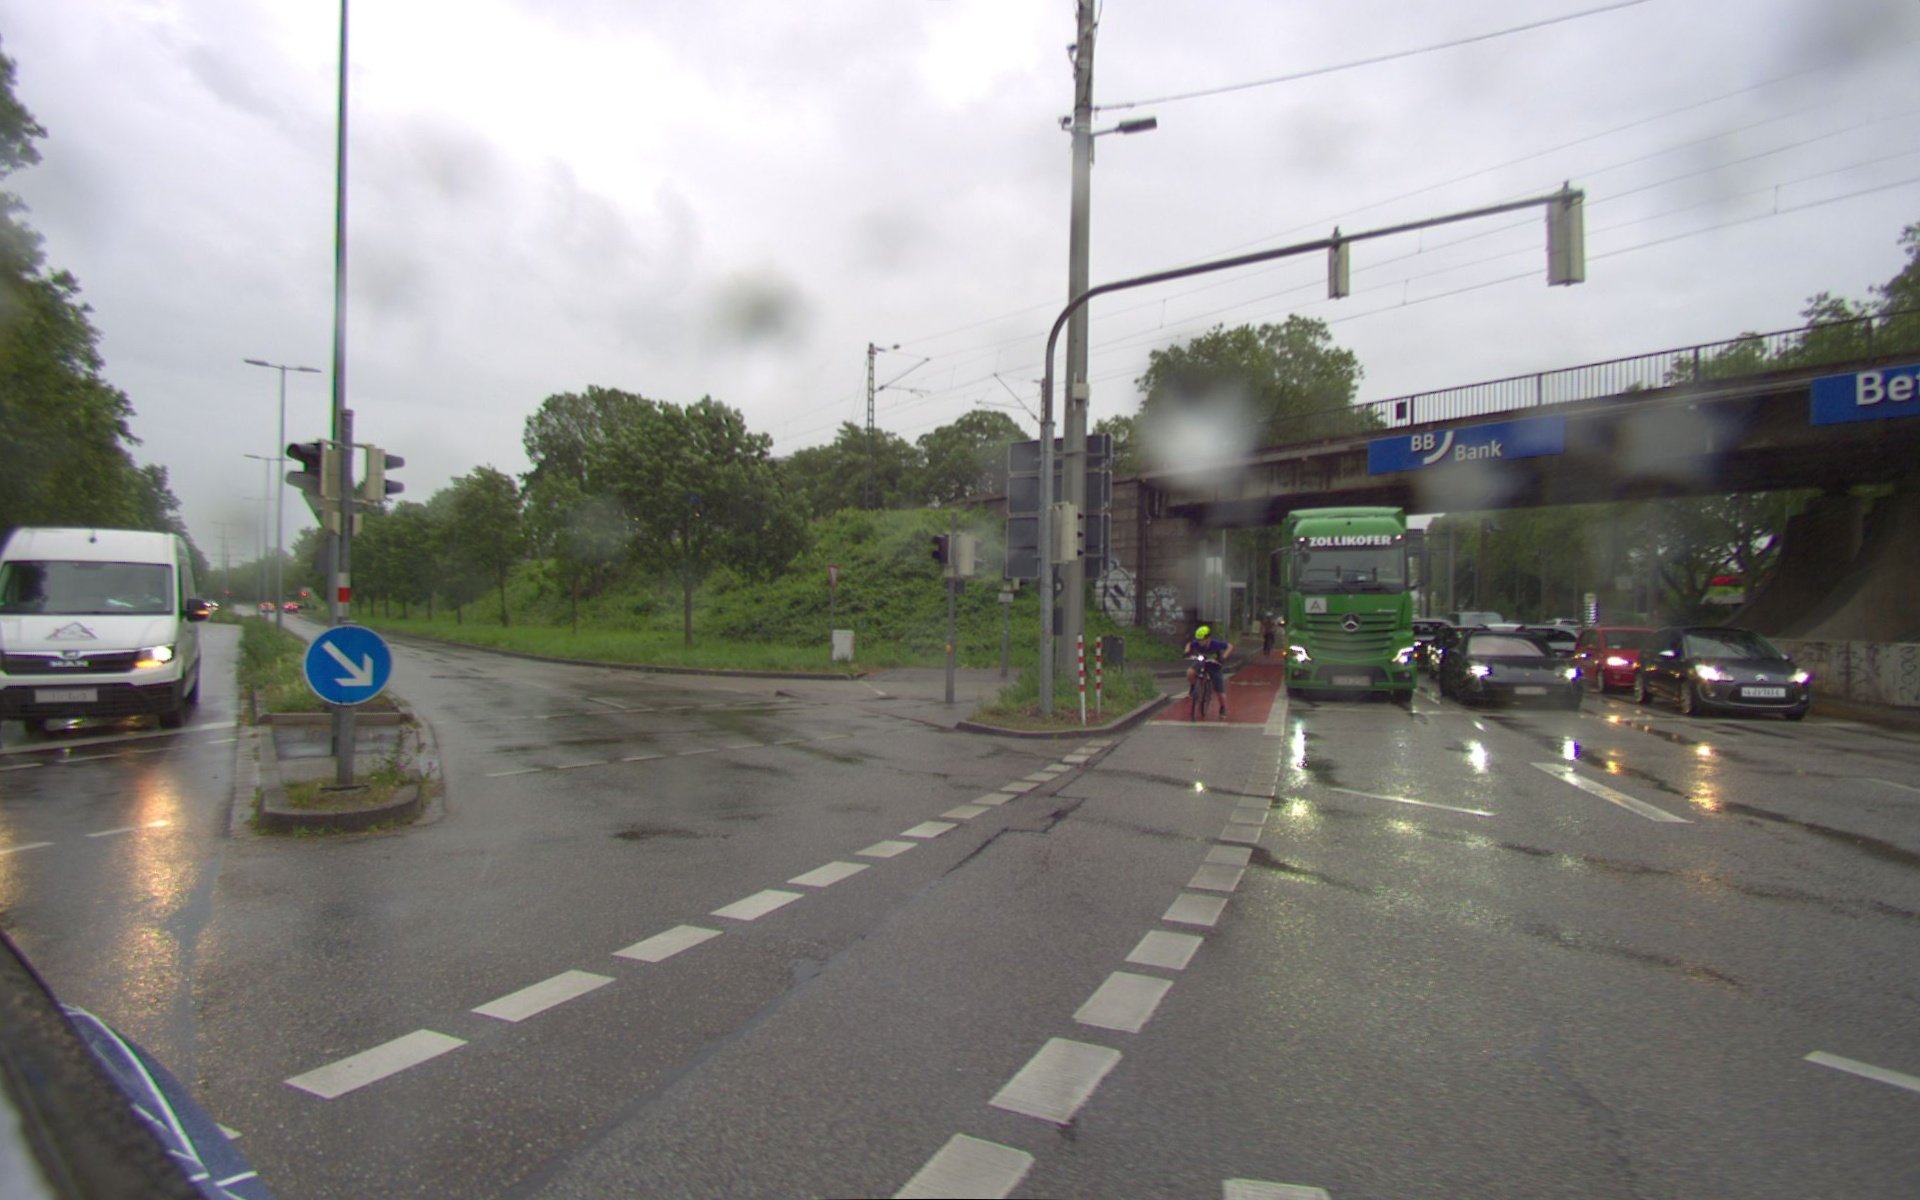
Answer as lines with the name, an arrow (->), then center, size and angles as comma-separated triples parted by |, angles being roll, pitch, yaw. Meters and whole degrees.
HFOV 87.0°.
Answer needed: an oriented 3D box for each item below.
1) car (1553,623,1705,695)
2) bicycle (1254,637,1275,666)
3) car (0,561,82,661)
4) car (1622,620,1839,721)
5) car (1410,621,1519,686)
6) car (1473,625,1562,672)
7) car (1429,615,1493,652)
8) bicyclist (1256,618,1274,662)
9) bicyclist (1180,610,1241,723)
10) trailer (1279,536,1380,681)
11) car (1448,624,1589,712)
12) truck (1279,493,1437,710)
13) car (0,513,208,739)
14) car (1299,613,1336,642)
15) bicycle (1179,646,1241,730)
car -> 15.253, 1.291, 23.317 | 1.805, 1.463, 3.978 | 0, -1, 16
bicycle -> 12.335, 2.072, 40.936 | 0.702, 1.103, 1.900 | -1, 0, 20
car -> -24.816, 0.288, 26.689 | 1.967, 2.449, 4.990 | 2, -2, -36
car -> 13.480, 1.165, 18.011 | 1.645, 1.558, 3.980 | 0, -1, 15
car -> 13.494, 1.382, 27.298 | 1.983, 1.586, 3.977 | 0, -1, 17
car -> 20.014, 1.711, 36.517 | 1.983, 1.586, 3.978 | 0, -1, 16
car -> 21.806, 1.453, 44.163 | 1.812, 1.481, 3.978 | 0, -1, 16
bicyclist -> 12.340, 1.604, 40.902 | 0.663, 1.748, 0.685 | 0, -1, 21
bicyclist -> 3.793, 0.971, 15.290 | 0.799, 1.605, 1.040 | 0, 0, 20
trailer -> 11.787, 0.312, 32.568 | 2.668, 4.017, 8.465 | 0, -1, 19
car -> 10.810, 1.242, 19.914 | 1.733, 1.497, 4.653 | 0, -2, 20
truck -> 8.969, 0.139, 23.825 | 2.665, 3.979, 10.136 | 0, -1, 17
car -> -11.643, 0.324, 13.811 | 1.937, 2.452, 5.976 | 2, -2, -35
car -> 19.413, 1.513, 54.994 | 1.814, 1.481, 3.974 | 0, -2, 19
bicycle -> 3.810, 1.285, 15.327 | 0.690, 1.103, 1.900 | 0, 0, 20
